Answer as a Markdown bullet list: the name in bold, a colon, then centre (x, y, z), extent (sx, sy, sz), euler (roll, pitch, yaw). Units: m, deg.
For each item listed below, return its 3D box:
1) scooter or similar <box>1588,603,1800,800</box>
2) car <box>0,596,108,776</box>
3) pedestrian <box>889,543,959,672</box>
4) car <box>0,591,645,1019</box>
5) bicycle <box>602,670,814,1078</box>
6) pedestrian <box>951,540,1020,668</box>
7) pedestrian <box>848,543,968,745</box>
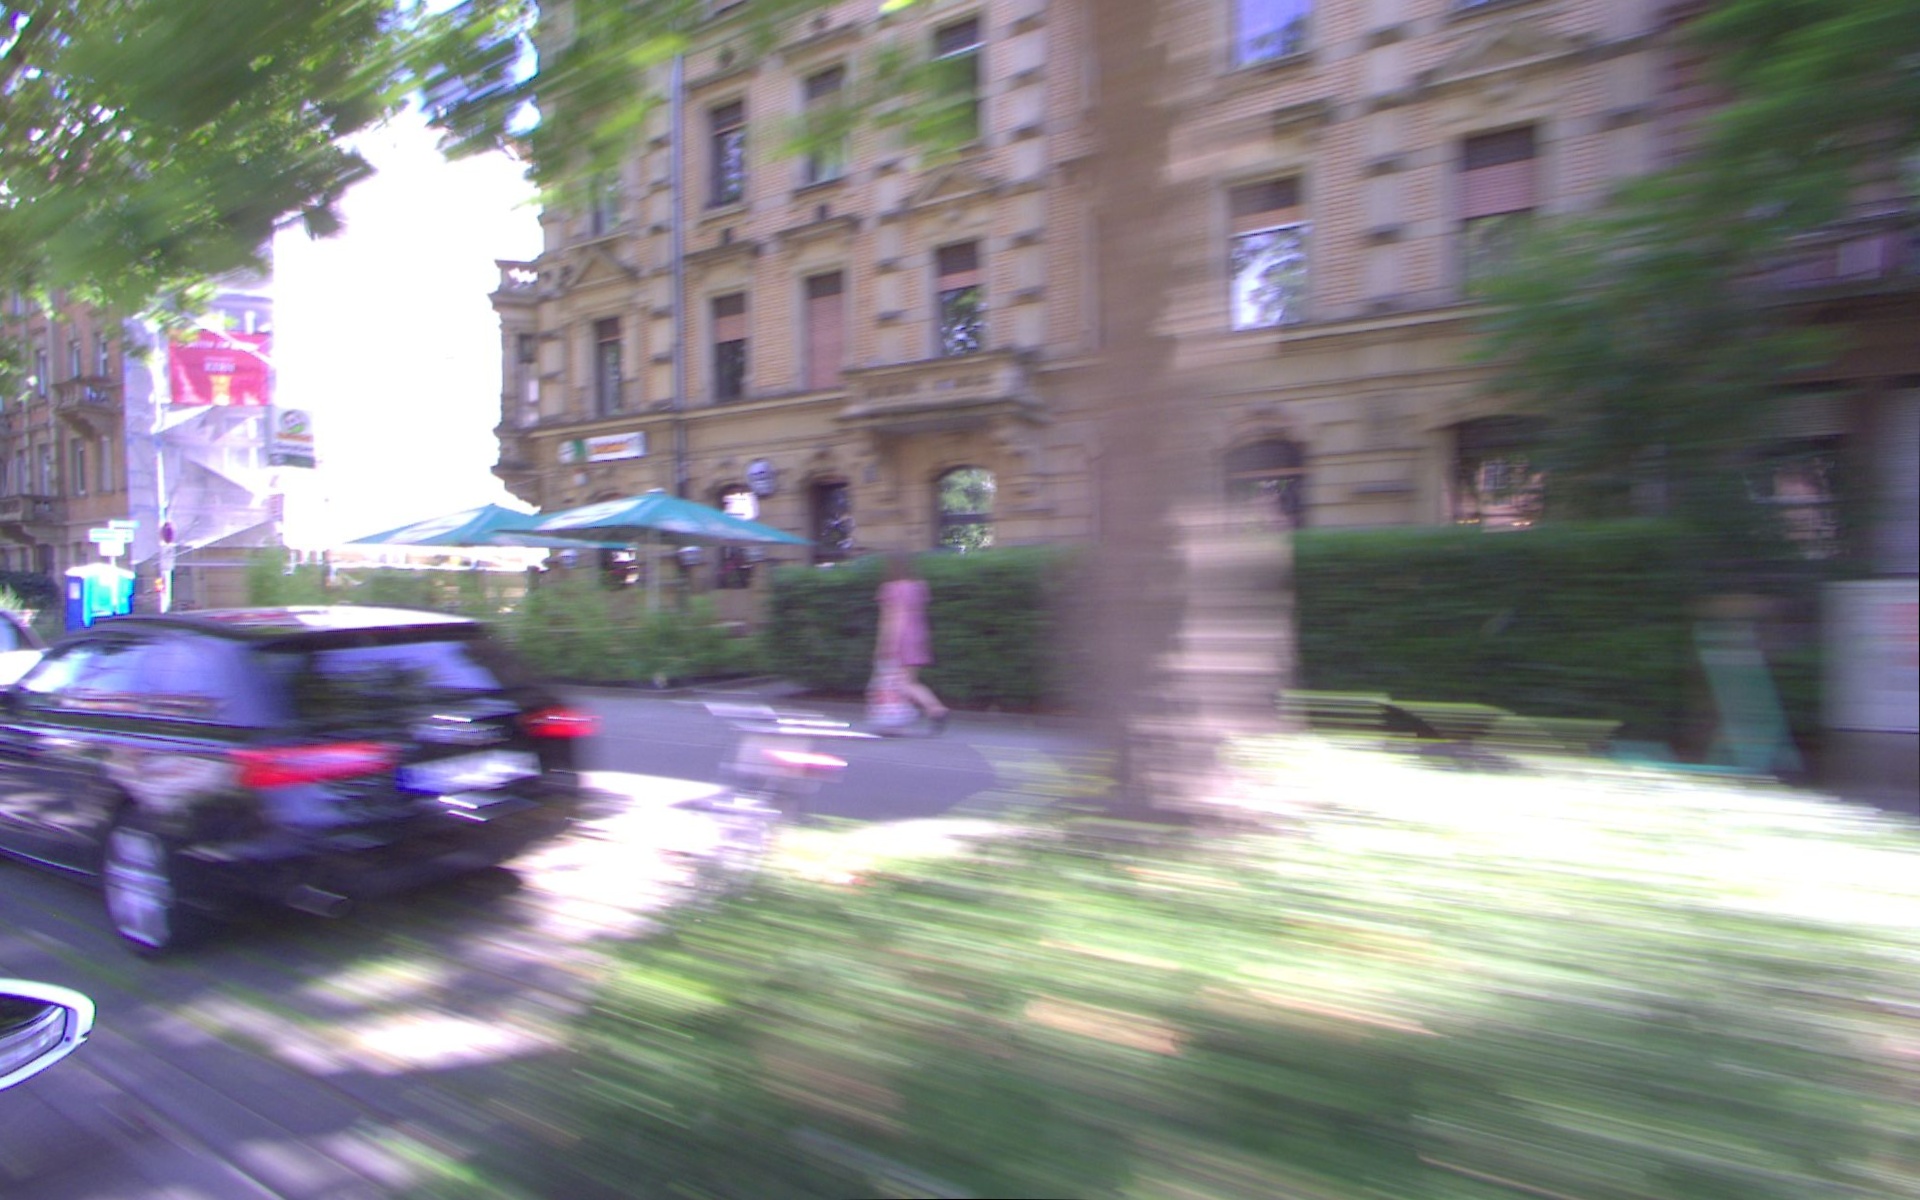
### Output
- **scooter or similar**: centre (5.076, 0.661, 7.007), extent (1.128, 1.264, 0.581), euler (0, 1, 31)
- **car**: centre (-10.218, 0.732, 9.398), extent (4.421, 1.528, 1.832), euler (0, 1, 27)
- **pedestrian**: centre (-0.533, 0.100, 15.055), extent (0.726, 1.877, 0.849), euler (0, 3, 22)
- **car**: centre (-4.042, 0.722, 5.544), extent (4.575, 1.528, 1.830), euler (0, 1, 31)
- **bicycle**: centre (-0.875, 0.884, 3.838), extent (0.463, 1.103, 1.637), euler (0, 1, -3)
- **pedestrian**: centre (0.388, 0.048, 14.643), extent (0.726, 1.810, 0.849), euler (0, 3, 23)
- **pedestrian**: centre (-0.480, 0.381, 9.474), extent (0.839, 1.810, 0.734), euler (0, 3, 30)
